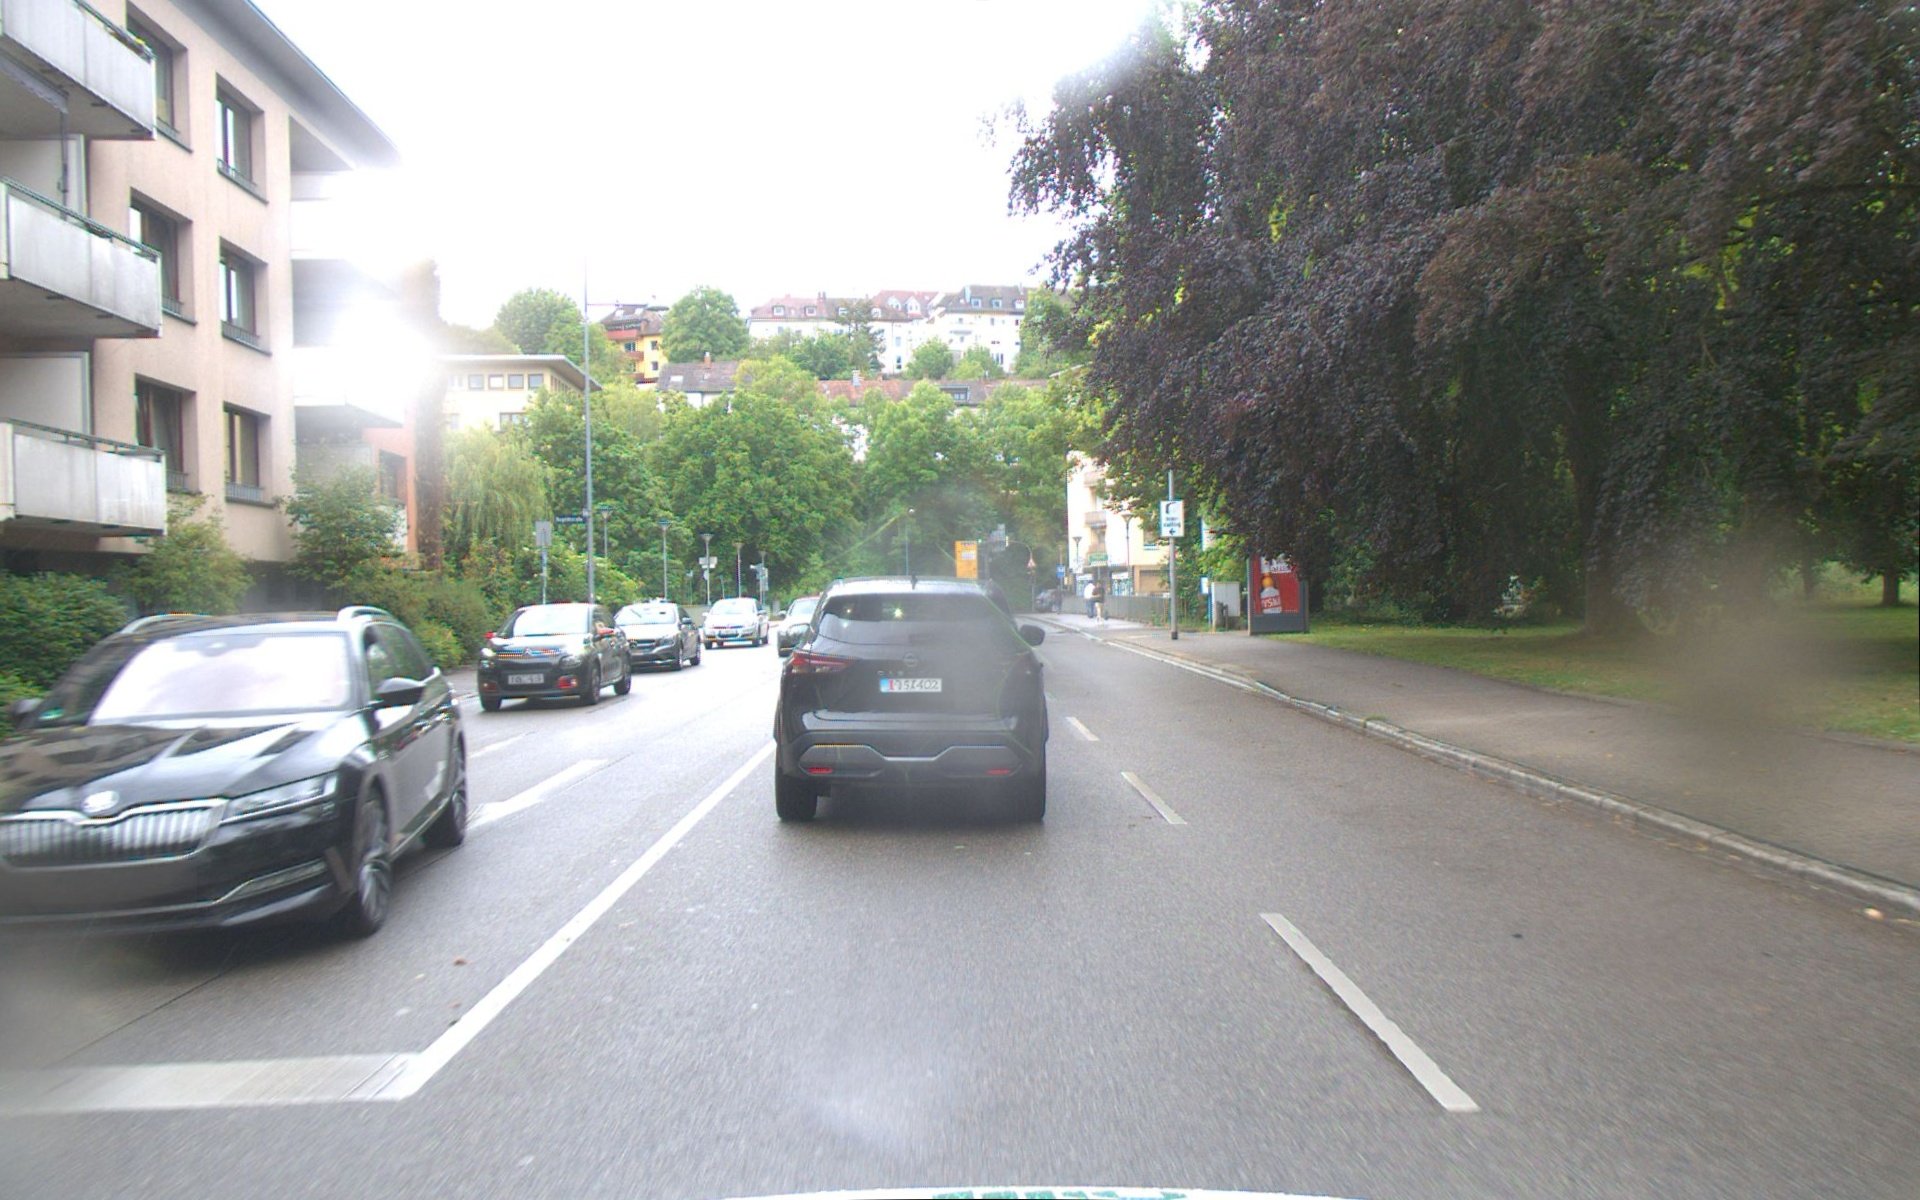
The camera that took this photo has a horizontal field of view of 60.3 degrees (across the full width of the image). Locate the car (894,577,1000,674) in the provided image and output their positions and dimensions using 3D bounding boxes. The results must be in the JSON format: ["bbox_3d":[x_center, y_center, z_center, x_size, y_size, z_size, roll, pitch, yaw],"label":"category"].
[{"bbox_3d":[-0.245,0.413,29.708,1.774,1.631,3.999,0,0,-1],"label":"car"}]

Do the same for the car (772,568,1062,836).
[{"bbox_3d":[-0.291,0.609,12.145,1.774,1.631,3.999,0,0,-1],"label":"car"}]

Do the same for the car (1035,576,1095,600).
[{"bbox_3d":[8.288,-0.962,130.068,4.315,1.678,1.867,-3,0,-27],"label":"car"}]

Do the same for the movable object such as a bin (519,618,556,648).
[{"bbox_3d":[-13.287,1.031,52.026,0.946,0.892,0.832,-2,0,-1],"label":"movable object such as a bin"}]

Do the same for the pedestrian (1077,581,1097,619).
[{"bbox_3d":[5.958,0.001,77.437,0.763,1.783,1.061,-2,0,11],"label":"pedestrian"}]

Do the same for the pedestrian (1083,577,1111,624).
[{"bbox_3d":[5.197,0.032,62.899,0.830,1.705,1.167,-3,0,-1],"label":"pedestrian"}]

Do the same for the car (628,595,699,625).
[{"bbox_3d":[-20.150,0.675,112.559,4.655,1.886,1.996,-1,2,-10],"label":"car"}]

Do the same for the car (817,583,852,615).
[{"bbox_3d":[-9.728,-0.102,128.596,2.243,2.348,6.508,-3,1,-1],"label":"car"}]

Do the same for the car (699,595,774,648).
[{"bbox_3d":[-6.846,0.629,50.994,1.776,1.440,4.047,-3,1,-1],"label":"car"}]

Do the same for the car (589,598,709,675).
[{"bbox_3d":[-6.766,0.755,36.410,1.776,1.440,4.681,-3,1,-1],"label":"car"}]

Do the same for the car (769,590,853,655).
[{"bbox_3d":[-3.730,0.521,41.991,1.757,1.440,4.334,-3,1,-1],"label":"car"}]

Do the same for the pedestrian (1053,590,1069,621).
[{"bbox_3d":[5.719,0.320,93.578,0.745,1.706,0.781,-3,0,-1],"label":"pedestrian"}]

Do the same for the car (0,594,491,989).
[{"bbox_3d":[-3.714,0.776,8.845,1.763,1.483,4.480,-3,0,-10],"label":"car"}]

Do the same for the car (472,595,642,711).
[{"bbox_3d":[-6.097,0.743,25.437,1.652,1.517,3.889,-3,1,-1],"label":"car"}]
